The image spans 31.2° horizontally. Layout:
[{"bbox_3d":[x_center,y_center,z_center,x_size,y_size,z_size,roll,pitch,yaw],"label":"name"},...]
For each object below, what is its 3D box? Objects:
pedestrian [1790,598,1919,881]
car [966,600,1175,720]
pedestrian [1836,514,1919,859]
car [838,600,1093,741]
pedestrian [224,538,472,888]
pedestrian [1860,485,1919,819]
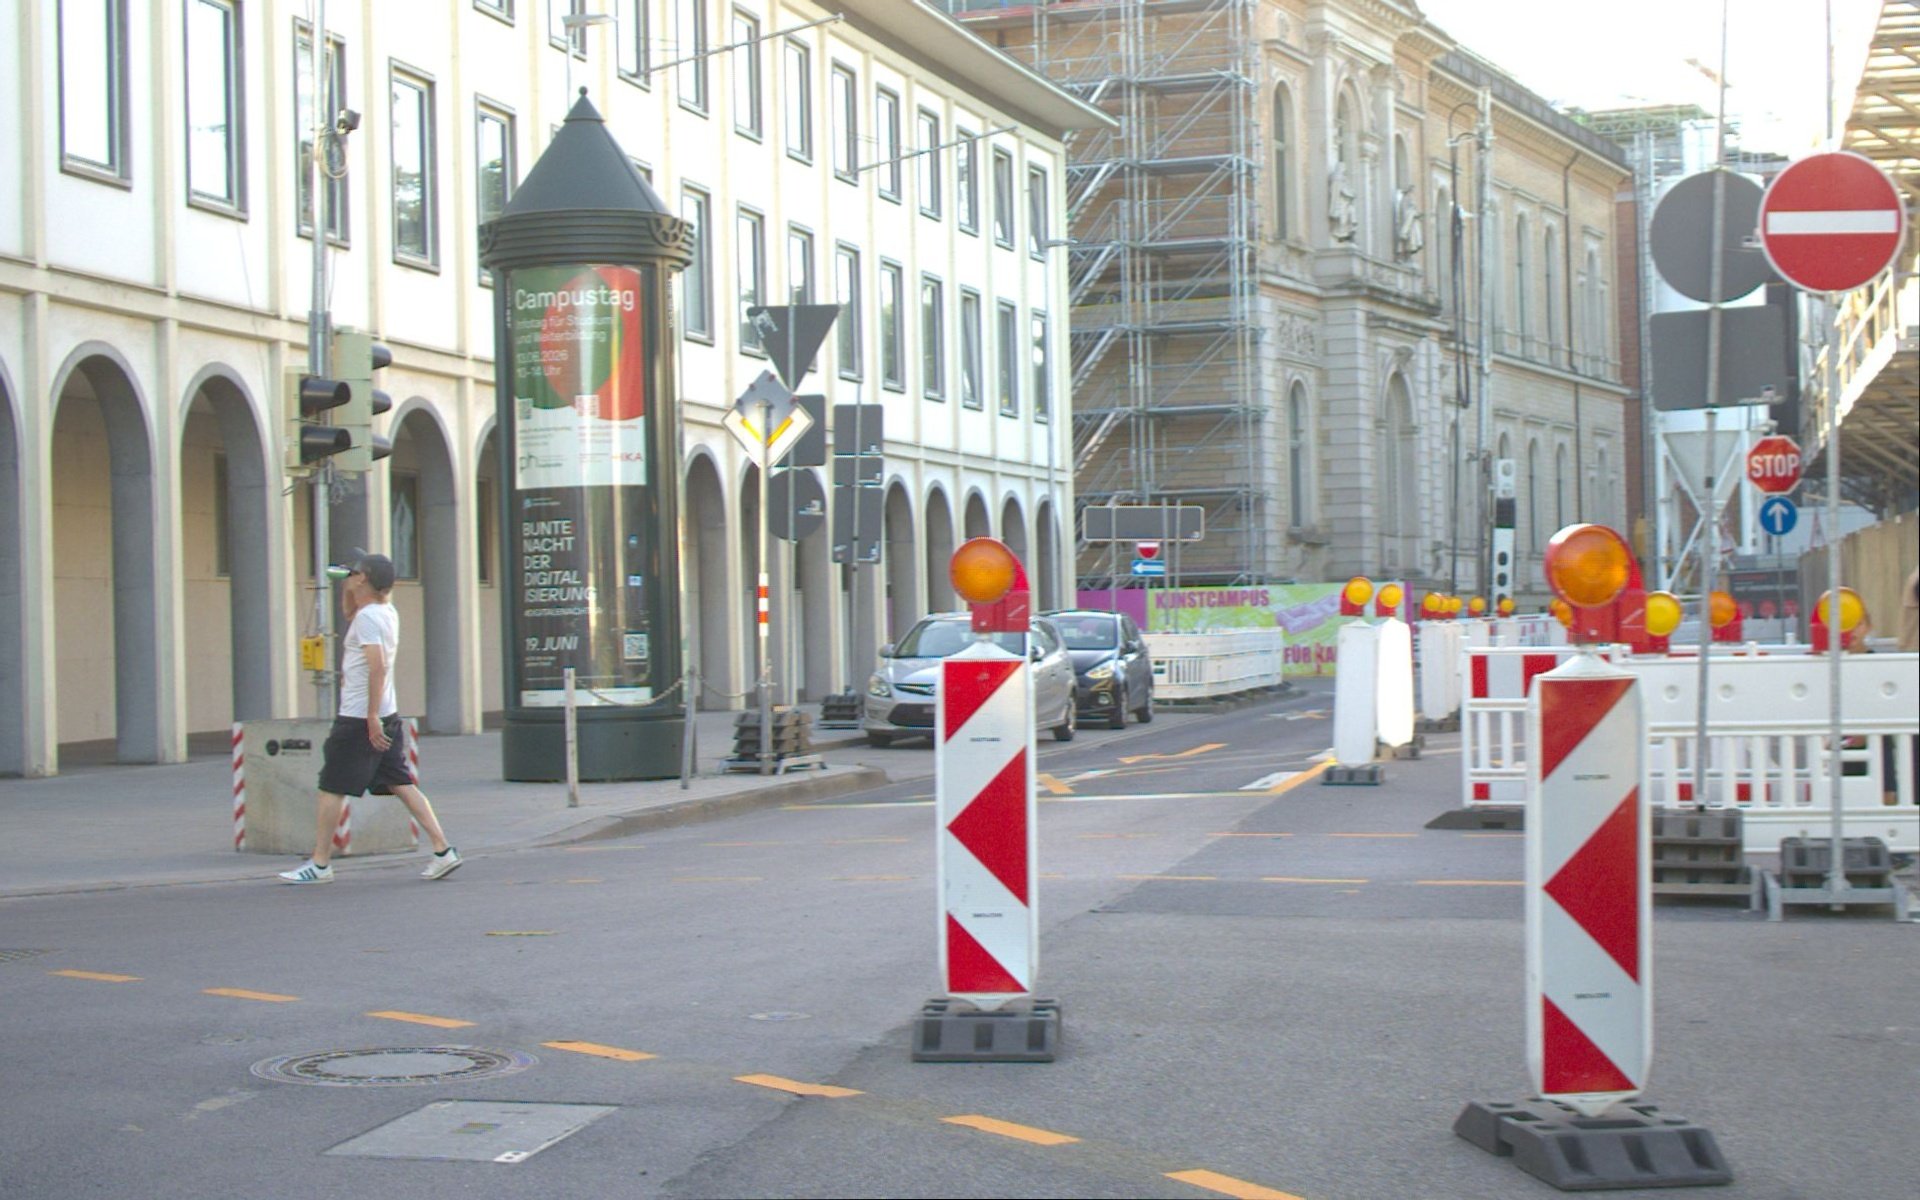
[{"bbox_3d":[4.263,0.648,16.248,0.618,1.295,0.493,1,1,12],"label":"pedestrian"},{"bbox_3d":[1.486,0.786,44.583,1.926,1.461,3.997,0,-1,14],"label":"car"},{"bbox_3d":[4.876,0.423,17.473,0.737,1.710,0.621,-3,0,13],"label":"pedestrian"},{"bbox_3d":[0.124,0.784,38.091,1.926,1.461,3.997,0,-1,14],"label":"car"},{"bbox_3d":[-3.135,0.573,17.658,0.974,1.723,0.798,-3,-1,10],"label":"pedestrian"},{"bbox_3d":[5.296,0.262,18.584,0.737,1.765,0.723,-3,0,13],"label":"pedestrian"}]
